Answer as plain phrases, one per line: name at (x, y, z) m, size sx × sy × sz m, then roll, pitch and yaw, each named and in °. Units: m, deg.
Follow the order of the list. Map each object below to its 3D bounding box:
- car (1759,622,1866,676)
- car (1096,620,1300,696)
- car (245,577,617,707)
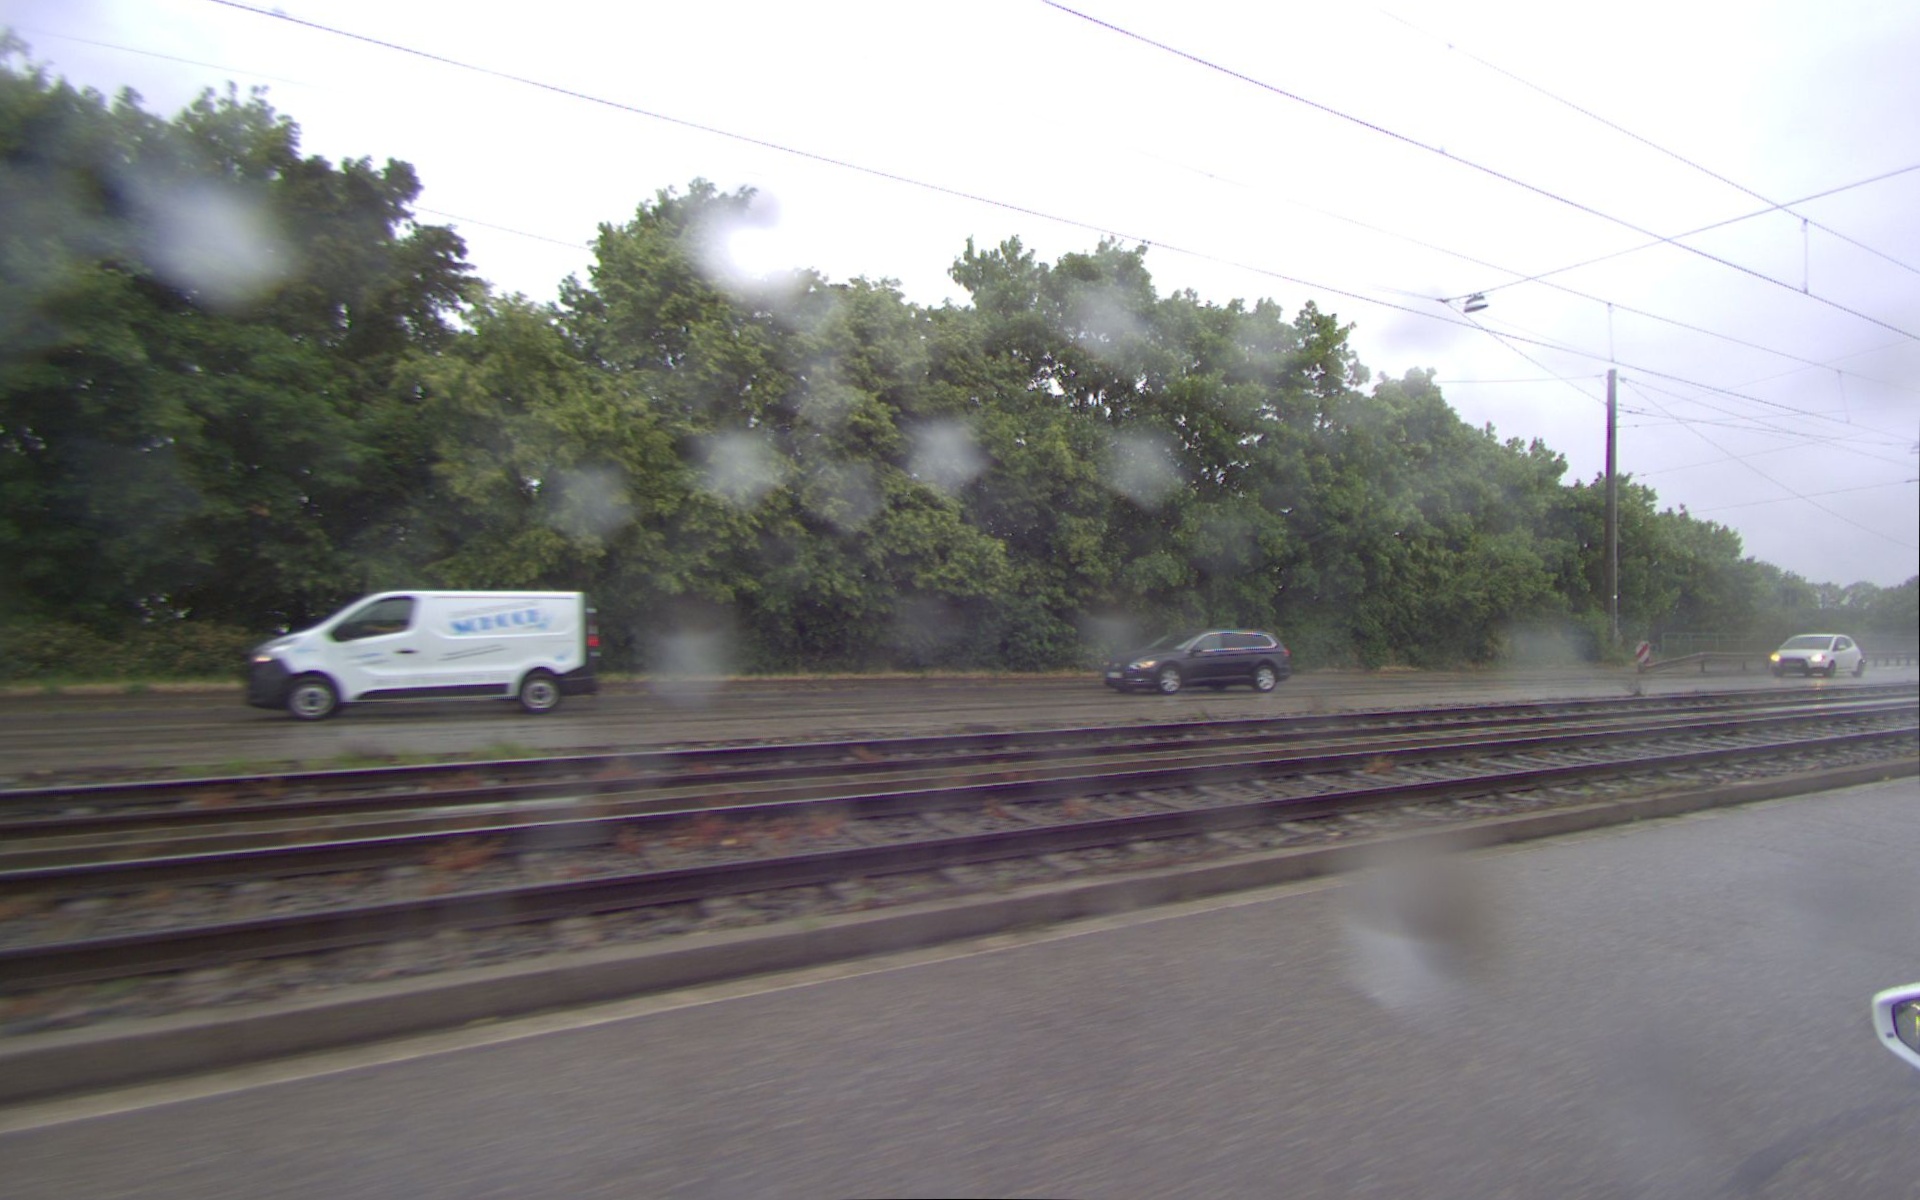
car at (30.640, 1.716, 36.074) m, size 3.954 × 1.734 × 1.745 m, roll 0°, pitch 1°, yaw -31°
car at (5.467, 1.249, 22.959) m, size 4.552 × 1.539 × 1.682 m, roll 1°, pitch 1°, yaw -28°
car at (-8.178, 0.582, 15.939) m, size 4.924 × 1.799 × 2.031 m, roll 1°, pitch 1°, yaw -29°
